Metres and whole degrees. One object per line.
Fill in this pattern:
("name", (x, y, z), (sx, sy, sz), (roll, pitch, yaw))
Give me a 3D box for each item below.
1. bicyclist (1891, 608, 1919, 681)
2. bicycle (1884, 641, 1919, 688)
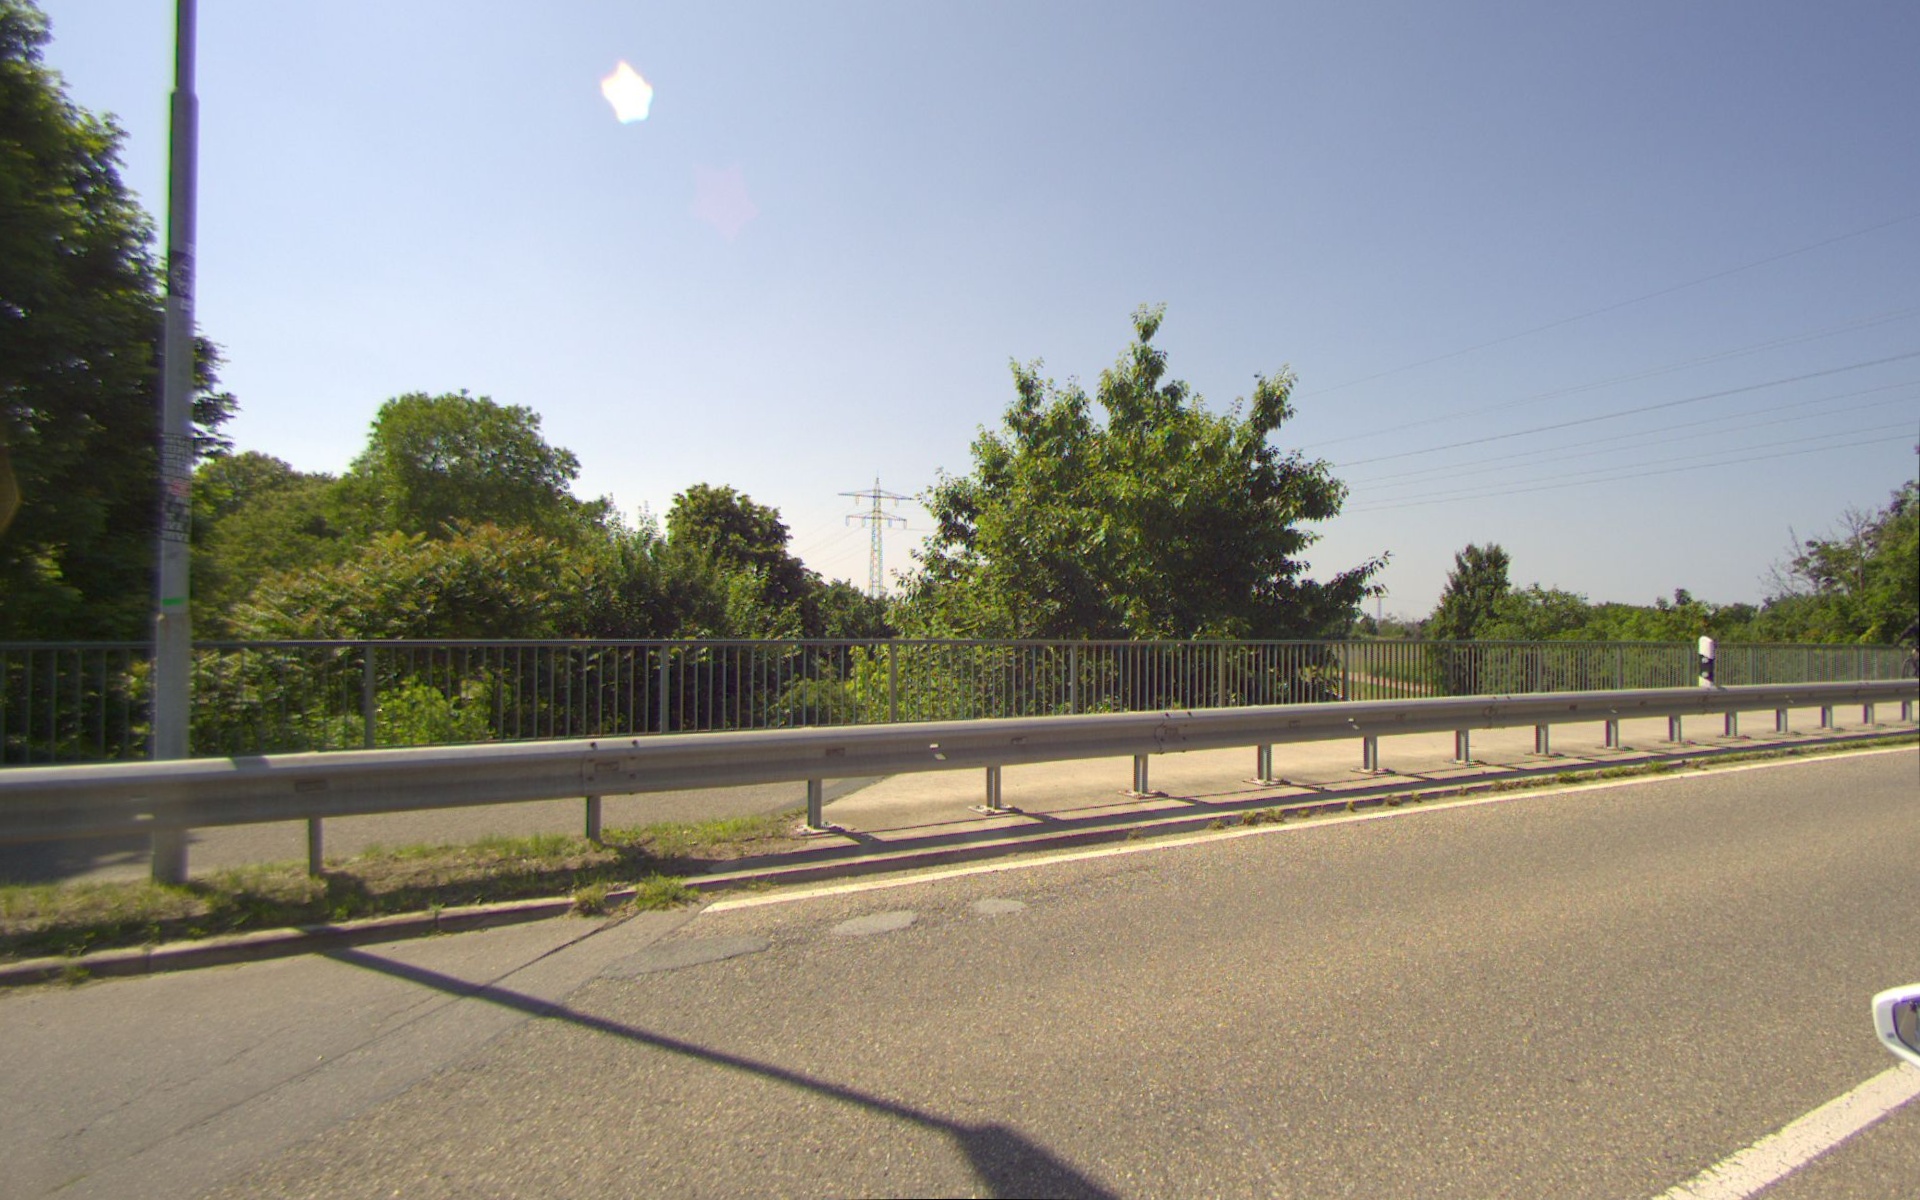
("bicyclist", (22.209, 1.017, 23.258), (0.885, 1.655, 0.761), (0, 0, -31))
("bicycle", (22.229, 1.478, 23.266), (2.095, 1.015, 0.674), (0, -1, -32))
